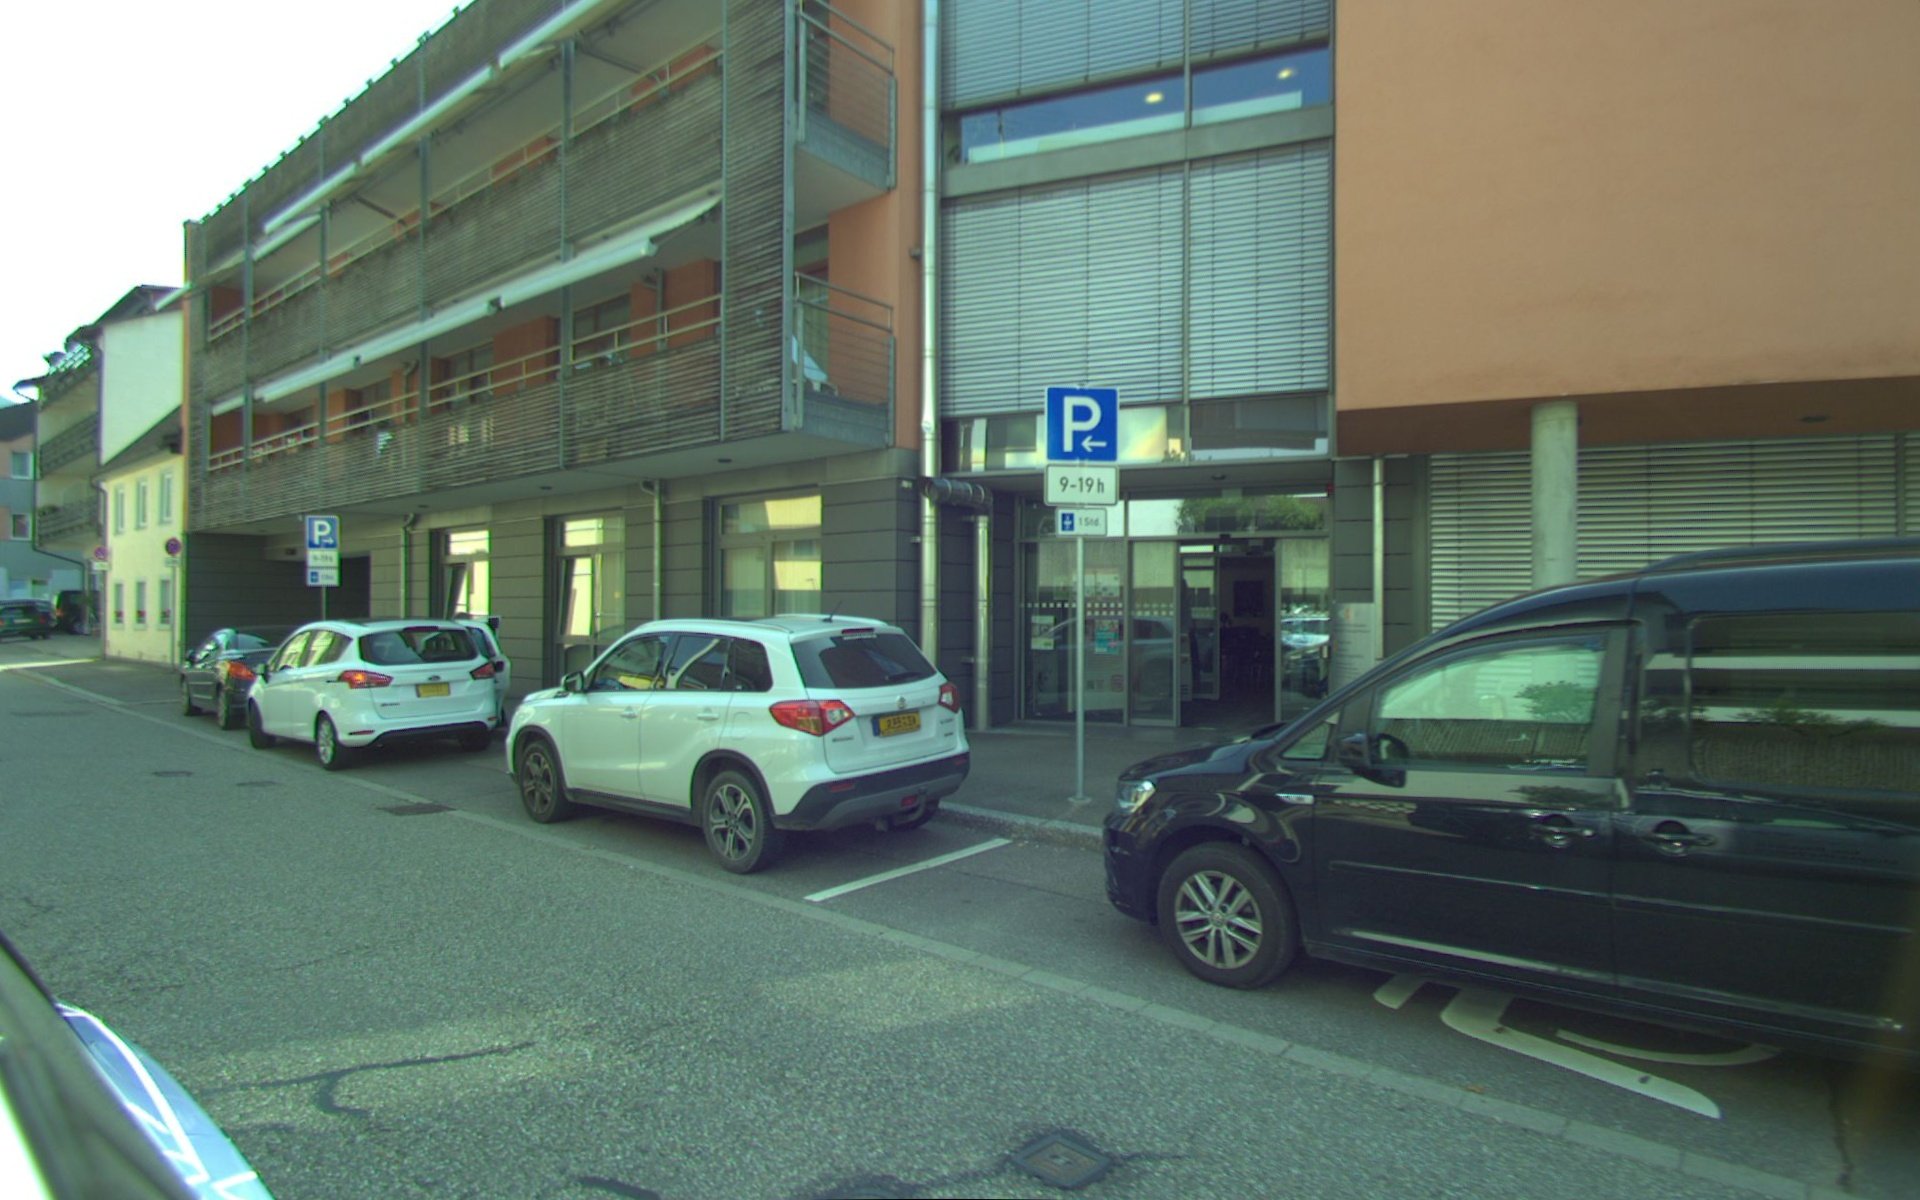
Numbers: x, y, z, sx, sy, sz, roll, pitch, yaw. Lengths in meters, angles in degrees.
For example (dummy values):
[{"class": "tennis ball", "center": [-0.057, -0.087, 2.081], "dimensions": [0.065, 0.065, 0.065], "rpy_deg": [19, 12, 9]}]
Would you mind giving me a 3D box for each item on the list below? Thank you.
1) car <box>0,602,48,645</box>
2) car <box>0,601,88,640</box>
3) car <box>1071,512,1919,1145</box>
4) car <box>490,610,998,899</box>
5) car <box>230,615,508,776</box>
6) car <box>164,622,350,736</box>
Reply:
[{"class": "car", "center": [-37.503, 0.933, 39.932], "dimensions": [3.886, 1.587, 1.764], "rpy_deg": [-1, 1, 41]}, {"class": "car", "center": [-42.916, 0.970, 46.514], "dimensions": [1.829, 1.697, 3.955], "rpy_deg": [-3, -3, 33]}, {"class": "car", "center": [2.699, 0.676, 4.050], "dimensions": [4.265, 1.810, 1.703], "rpy_deg": [-1, -2, 39]}, {"class": "car", "center": [-1.781, 0.908, 7.572], "dimensions": [3.946, 1.601, 1.658], "rpy_deg": [-2, -1, 40]}, {"class": "car", "center": [-6.998, 0.987, 11.849], "dimensions": [3.762, 1.567, 1.657], "rpy_deg": [-2, -1, 40]}, {"class": "car", "center": [-10.632, 1.084, 15.221], "dimensions": [3.593, 1.427, 1.532], "rpy_deg": [0, 0, 42]}]
